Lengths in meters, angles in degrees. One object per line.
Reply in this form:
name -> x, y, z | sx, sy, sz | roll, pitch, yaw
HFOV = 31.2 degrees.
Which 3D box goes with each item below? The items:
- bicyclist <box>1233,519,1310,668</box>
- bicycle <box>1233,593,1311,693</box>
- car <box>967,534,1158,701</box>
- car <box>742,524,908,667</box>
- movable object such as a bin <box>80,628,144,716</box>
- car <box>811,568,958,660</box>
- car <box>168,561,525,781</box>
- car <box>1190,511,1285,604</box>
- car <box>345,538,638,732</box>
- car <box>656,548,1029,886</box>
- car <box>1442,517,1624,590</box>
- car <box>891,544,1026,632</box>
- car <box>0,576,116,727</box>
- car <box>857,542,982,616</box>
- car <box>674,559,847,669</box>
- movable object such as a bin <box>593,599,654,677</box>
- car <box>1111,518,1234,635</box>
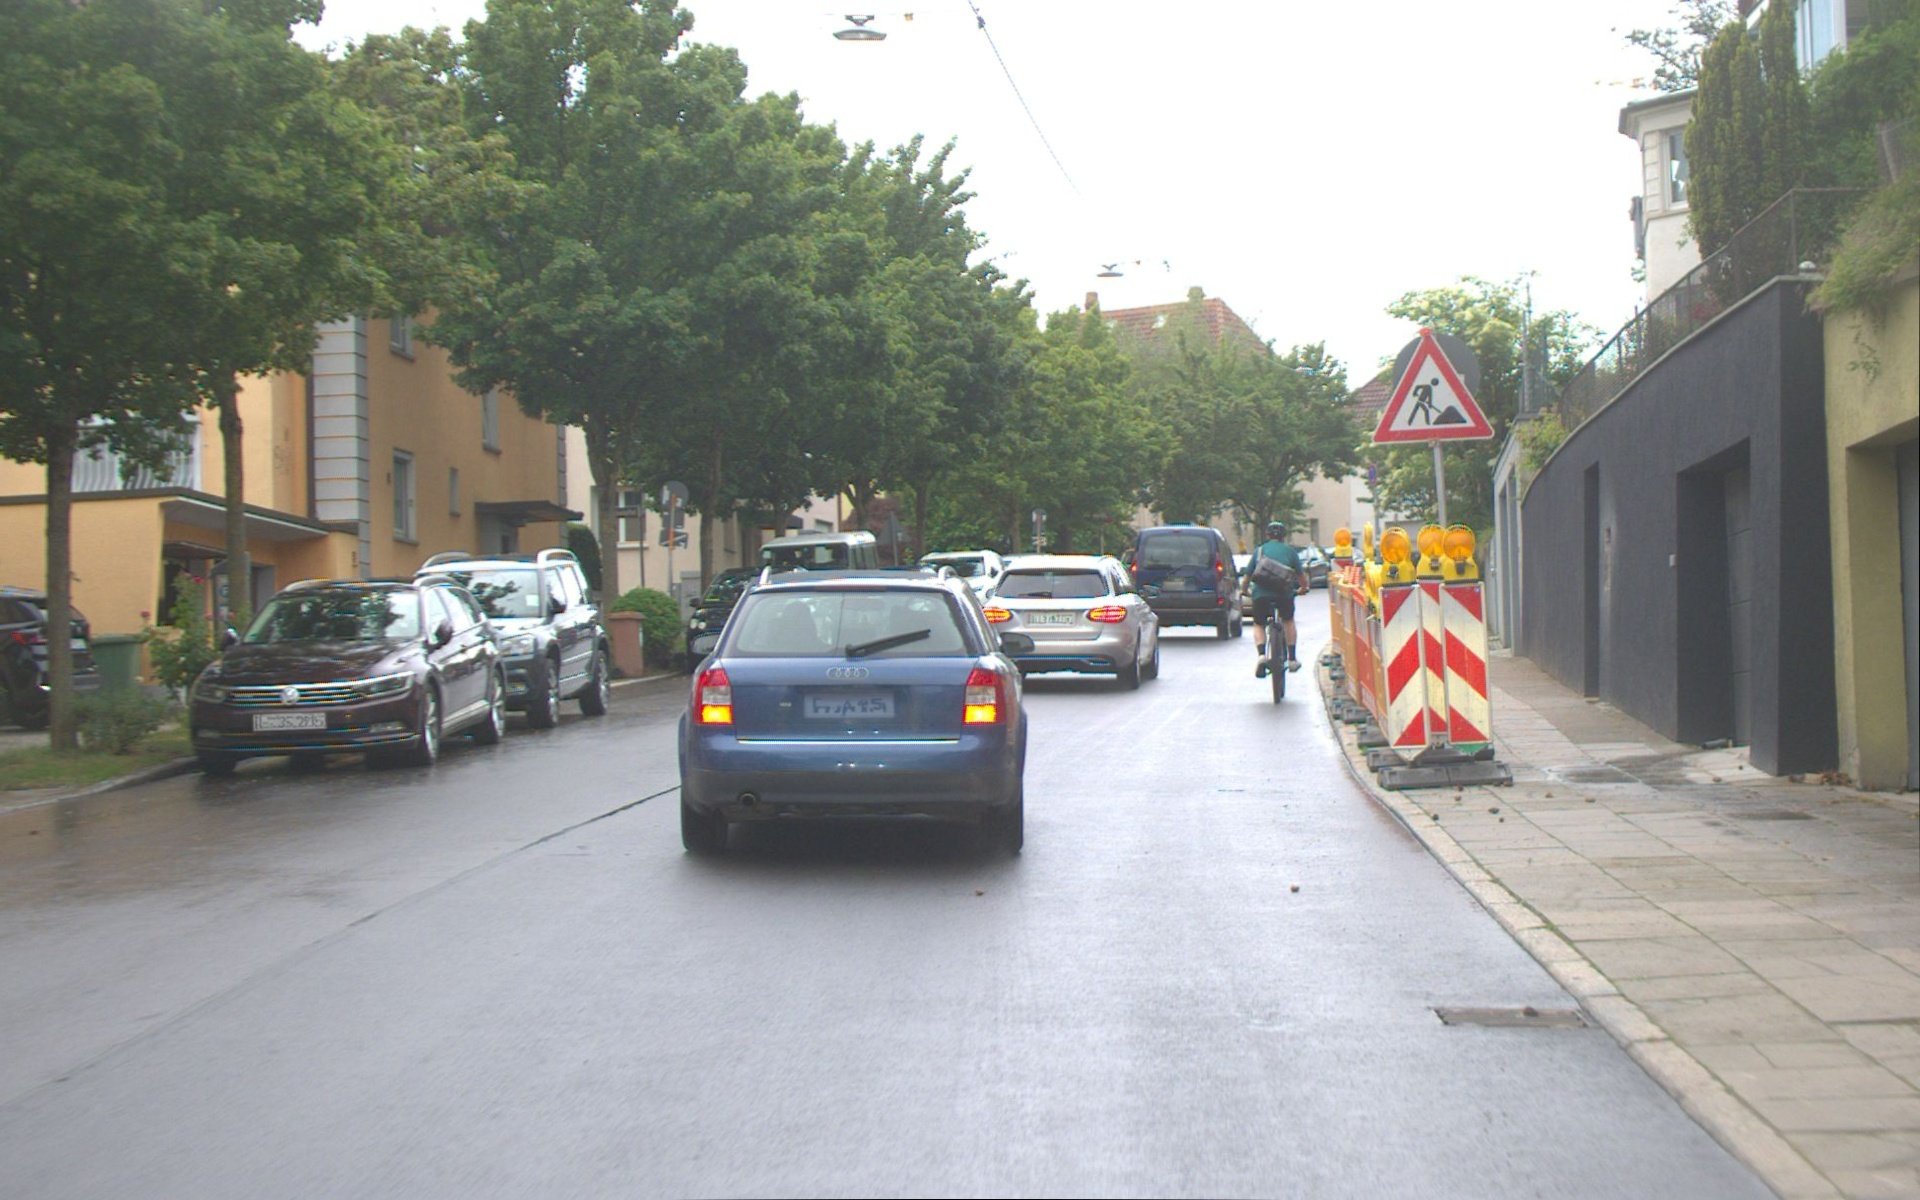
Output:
bicyclist -> 3.125, -0.066, 34.424 | 0.725, 1.467, 0.886 | -1, 1, 7
bicycle -> 3.133, 0.418, 34.462 | 0.730, 0.961, 1.670 | 0, 1, 7
car -> 1.204, 0.147, 38.578 | 1.975, 1.629, 4.235 | 1, 3, 4
car -> -2.114, -0.114, 55.247 | 1.792, 2.042, 4.781 | -4, 1, 7
movable object such as a bin -> -10.085, 0.855, 40.874 | 0.587, 1.020, 0.586 | 0, 1, 3
car -> -1.303, 0.223, 61.480 | 1.769, 1.382, 4.632 | -3, 2, 9
car -> -4.865, 0.507, 27.926 | 1.768, 1.530, 4.605 | -3, 1, 3
car -> 5.783, -0.917, 71.339 | 1.734, 1.762, 4.234 | 1, 3, 7
car -> -4.476, 0.286, 33.453 | 1.768, 1.629, 4.109 | -5, 1, 6
car -> -0.521, 0.527, 18.320 | 1.733, 1.461, 4.000 | 1, 3, 1
car -> 13.356, -1.086, 80.054 | 3.989, 1.461, 1.738 | -3, 2, 14
car -> 0.012, -0.246, 68.277 | 1.769, 1.621, 4.688 | -3, 0, 11
car -> -11.795, 0.593, 38.649 | 4.054, 1.640, 1.863 | -1, 0, 6
car -> -1.165, -0.621, 100.183 | 3.211, 1.734, 1.479 | -7, 1, 12
car -> -2.835, 0.176, 49.752 | 1.768, 1.431, 4.346 | -3, 1, 6
movable object such as a bin -> -4.672, 0.525, 47.748 | 0.682, 1.008, 0.708 | -5, 1, 1
car -> 3.552, -0.424, 56.920 | 1.734, 1.762, 4.234 | 1, 3, 7
